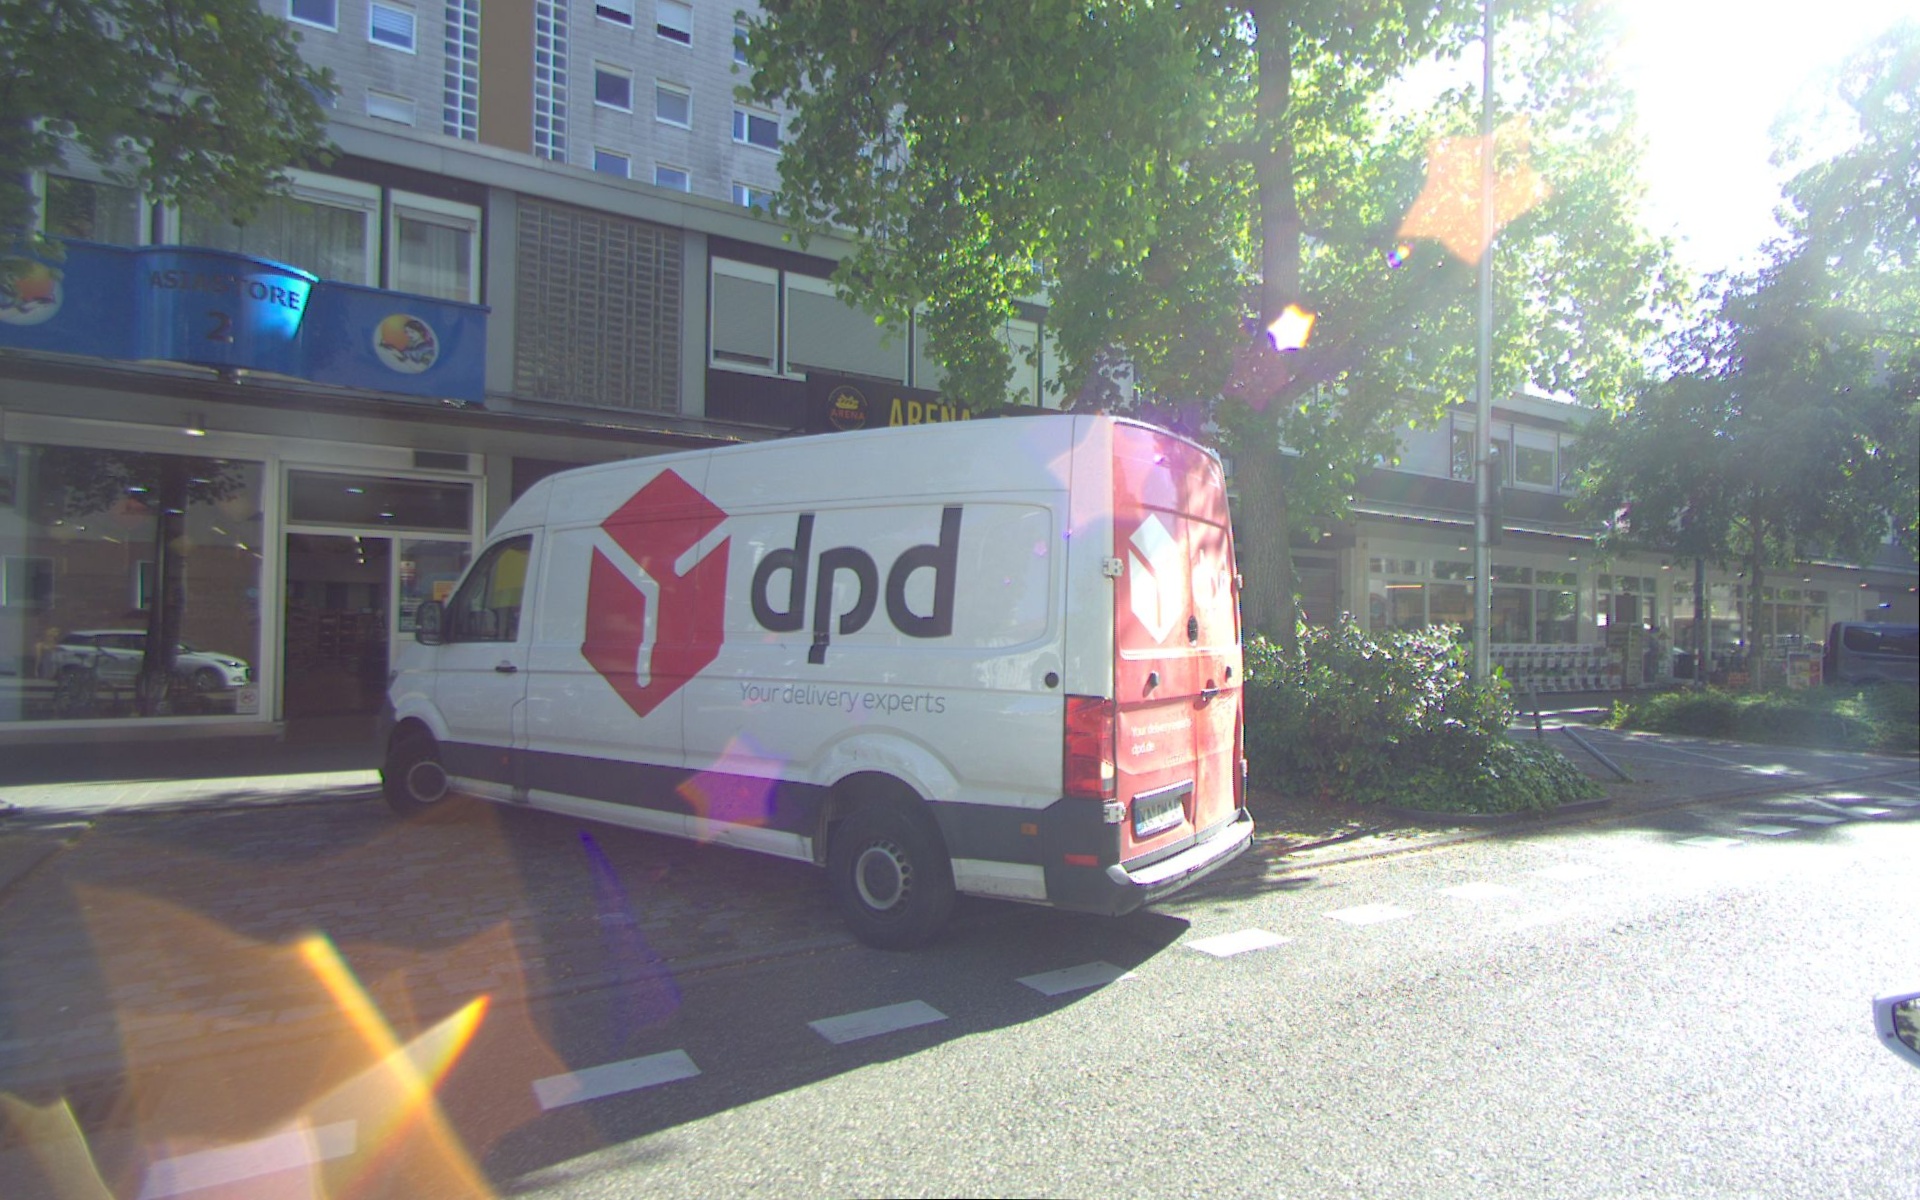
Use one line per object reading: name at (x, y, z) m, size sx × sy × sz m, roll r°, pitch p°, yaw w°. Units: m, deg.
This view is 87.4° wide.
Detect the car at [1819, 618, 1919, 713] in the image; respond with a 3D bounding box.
car at (21.664, 1.426, 21.015) m, size 1.992 × 2.000 × 5.266 m, roll 1°, pitch -1°, yaw -30°

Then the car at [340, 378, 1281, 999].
car at (-1.417, 0.420, 6.680) m, size 6.491 × 2.506 × 1.995 m, roll -1°, pitch -2°, yaw 33°

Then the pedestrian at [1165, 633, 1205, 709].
pedestrian at (3.844, 1.203, 17.153) m, size 0.630 × 1.256 × 0.326 m, roll 2°, pitch -2°, yaw -34°

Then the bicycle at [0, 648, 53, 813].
bicycle at (-7.086, 0.941, 7.056) m, size 0.579 × 1.121 × 1.861 m, roll 1°, pitch 0°, yaw -27°

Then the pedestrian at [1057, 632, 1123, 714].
pedestrian at (2.106, 1.165, 16.249) m, size 0.889 × 1.280 × 0.604 m, roll 2°, pitch -2°, yaw -34°
